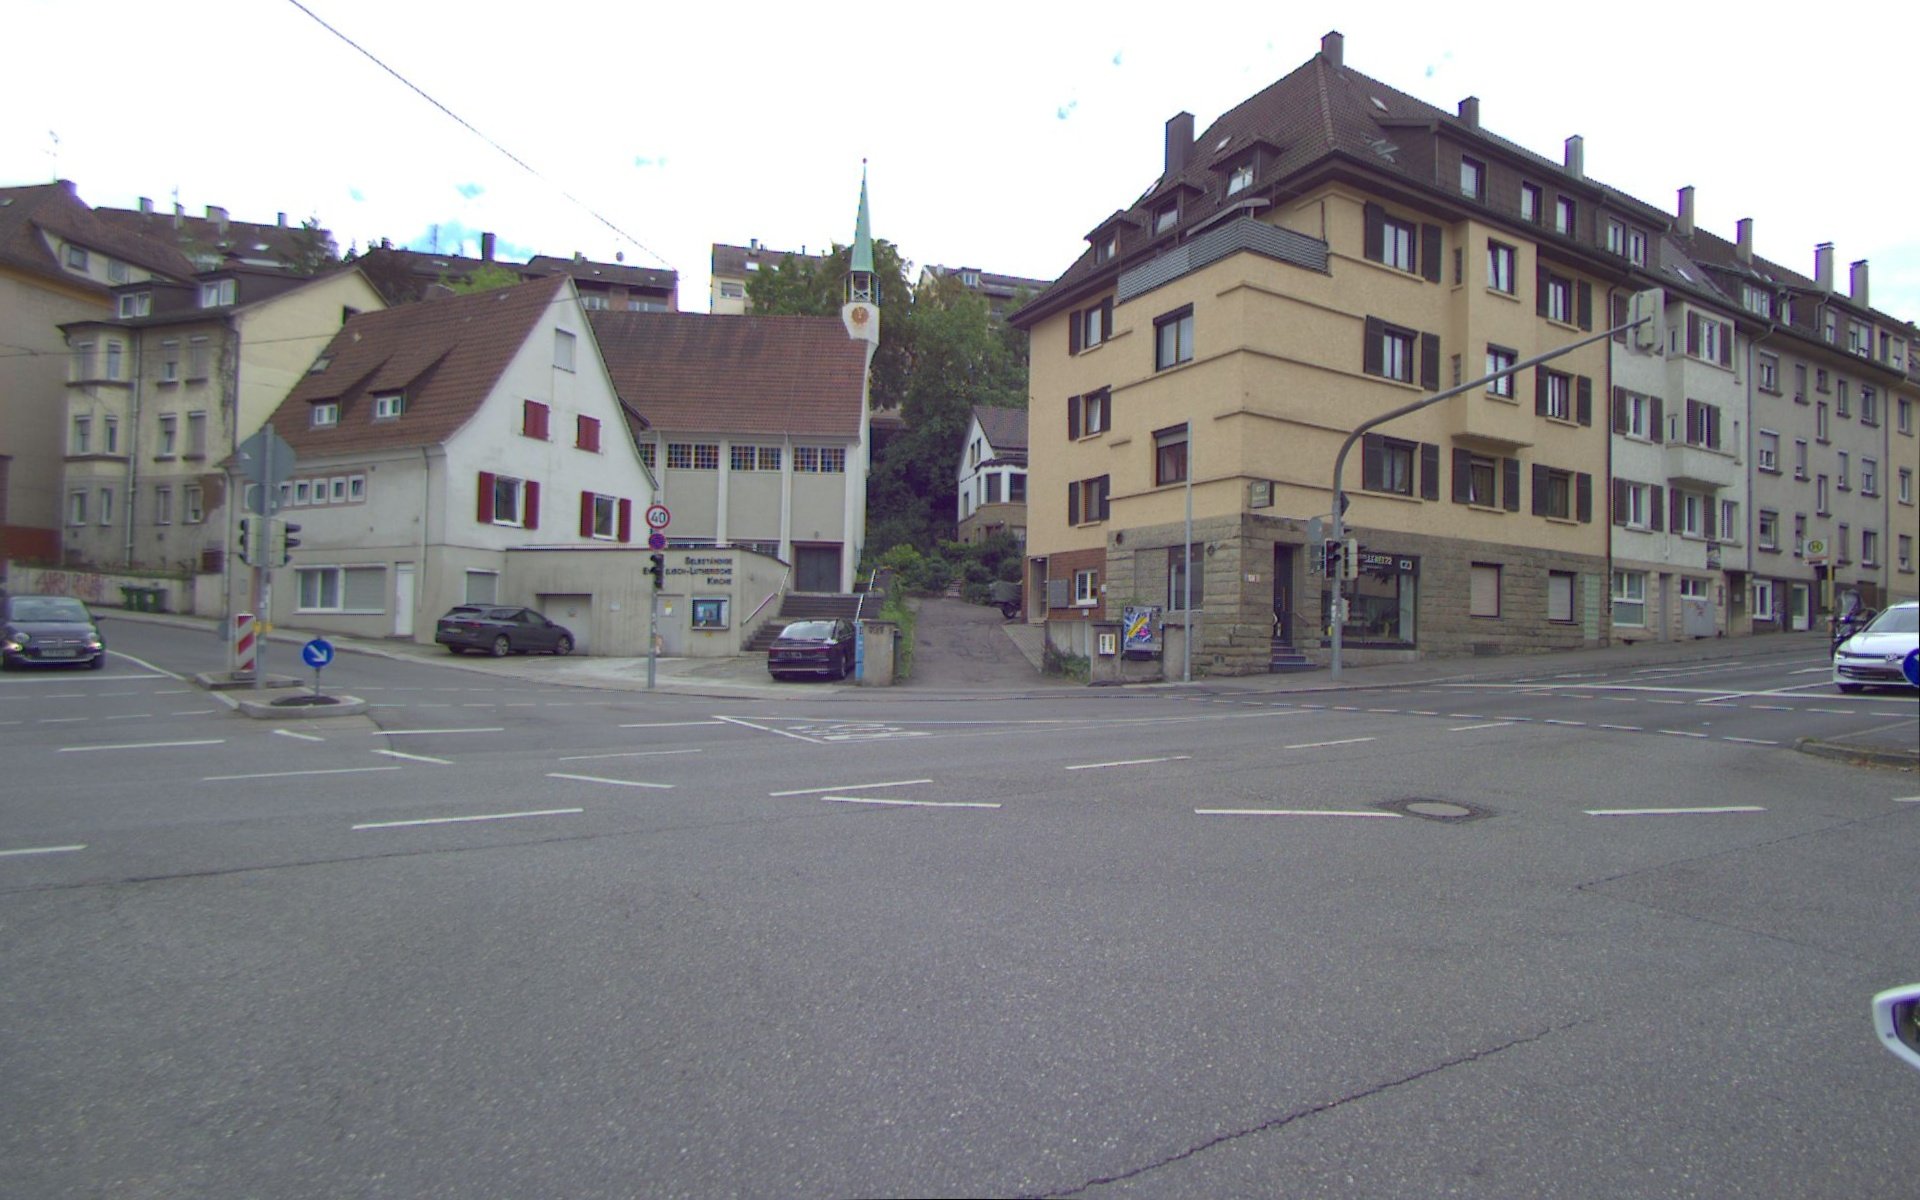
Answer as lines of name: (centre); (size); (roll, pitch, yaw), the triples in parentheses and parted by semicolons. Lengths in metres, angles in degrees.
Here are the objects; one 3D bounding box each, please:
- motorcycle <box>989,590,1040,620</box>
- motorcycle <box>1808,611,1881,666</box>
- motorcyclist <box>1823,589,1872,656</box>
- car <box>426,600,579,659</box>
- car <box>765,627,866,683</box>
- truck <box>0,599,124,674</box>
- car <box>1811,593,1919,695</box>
motorcycle: (2.112, 0.185, 38.808); (2.021, 1.149, 0.556); (-1, 1, -29)
motorcycle: (20.229, 0.858, 22.953); (2.178, 1.200, 0.542); (0, 0, -29)
motorcyclist: (20.268, 0.509, 22.941); (0.654, 1.495, 0.670); (-1, 0, -28)
car: (-13.648, 0.824, 30.260); (1.649, 1.485, 4.300); (4, 2, 18)
car: (-3.730, 1.408, 26.561); (1.799, 1.205, 4.001); (0, 1, 5)
truck: (-19.612, 0.724, 21.537); (3.939, 1.437, 1.844); (0, 1, 39)
car: (16.107, 0.637, 16.593); (4.532, 1.487, 1.737); (-1, 0, -31)
